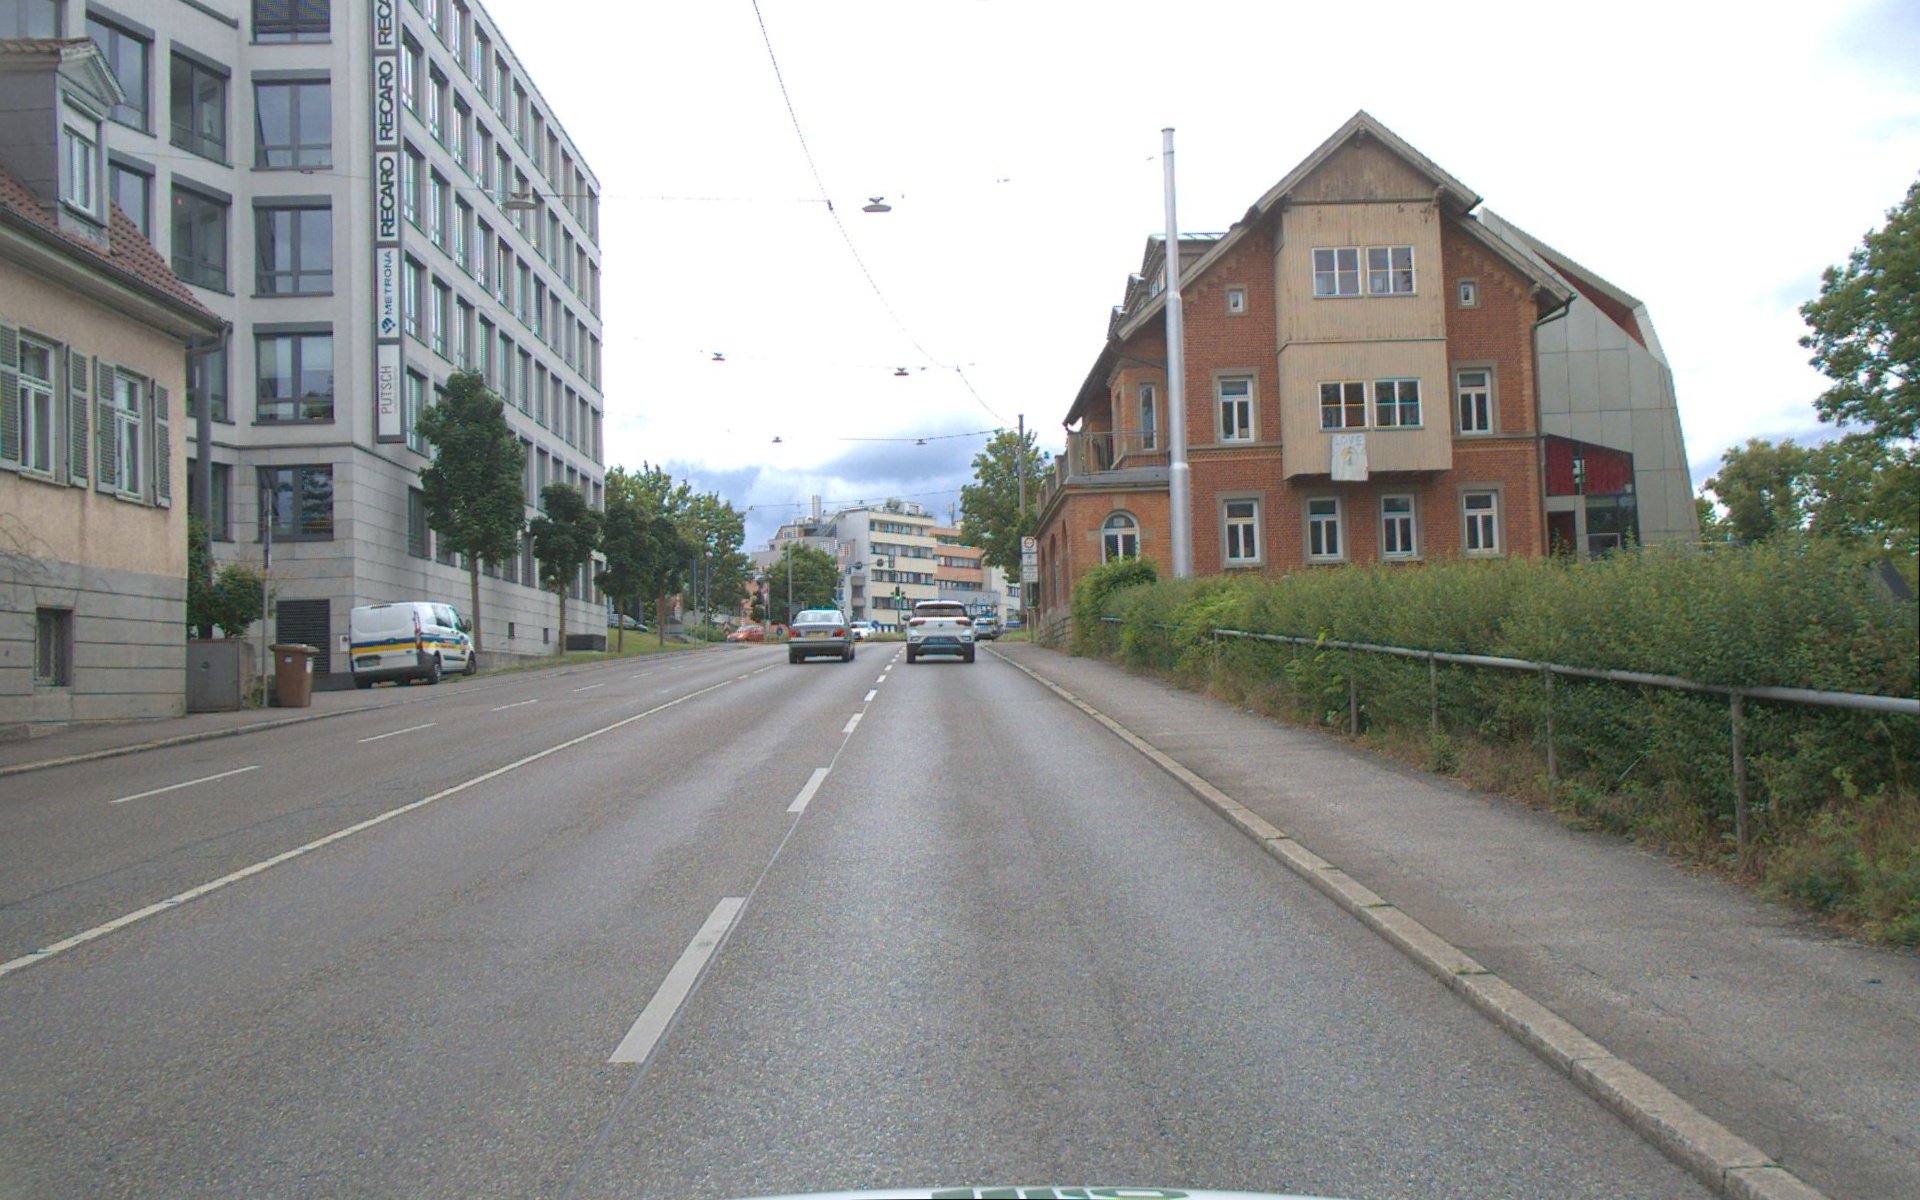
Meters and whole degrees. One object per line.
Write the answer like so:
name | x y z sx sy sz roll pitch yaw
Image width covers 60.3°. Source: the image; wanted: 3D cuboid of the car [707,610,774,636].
car | -13.620 1.437 102.854 1.750 1.571 3.975 -2 -2 43

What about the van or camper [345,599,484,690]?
van or camper | -13.549 1.081 41.405 2.020 2.002 4.869 -4 0 -4

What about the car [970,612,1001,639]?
car | 1.604 1.557 102.678 1.733 1.598 4.286 -2 -1 3

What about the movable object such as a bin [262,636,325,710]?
movable object such as a bin | -11.457 1.245 28.438 0.795 1.210 0.697 2 -1 -7

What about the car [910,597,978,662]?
car | -0.432 0.720 43.030 1.665 1.575 3.735 1 0 -1

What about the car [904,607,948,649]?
car | -1.320 1.135 65.425 1.665 1.543 3.493 -1 -2 0

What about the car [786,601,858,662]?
car | -3.686 0.815 44.670 1.665 1.542 3.735 -2 0 -1
